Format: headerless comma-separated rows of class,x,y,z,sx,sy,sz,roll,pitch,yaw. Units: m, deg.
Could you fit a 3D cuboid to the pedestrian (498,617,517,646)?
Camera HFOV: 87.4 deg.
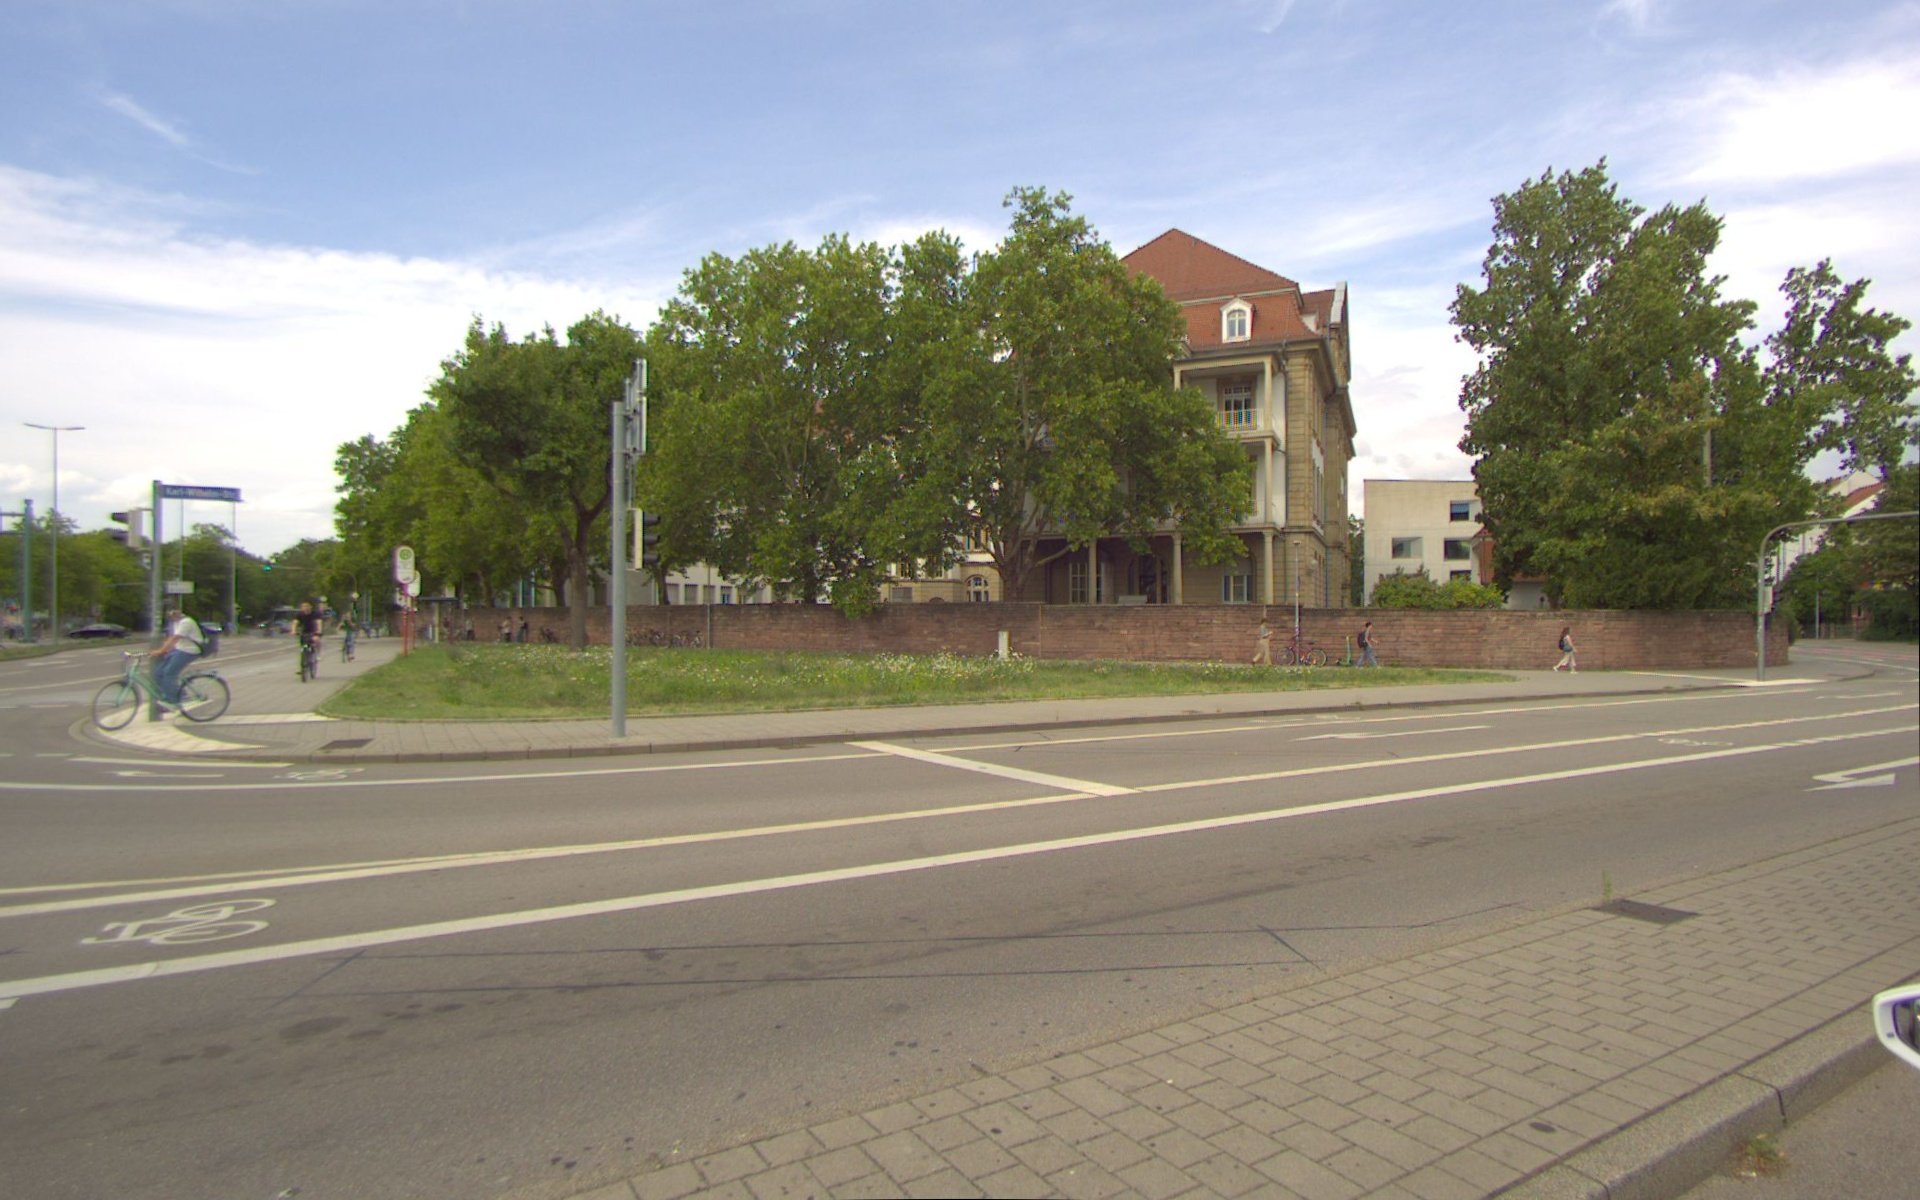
pedestrian,-26.449,1.840,58.730,0.655,1.643,0.751,-1,1,38

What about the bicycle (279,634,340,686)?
bicycle,-13.887,1.253,21.487,0.497,0.948,1.965,0,1,-14

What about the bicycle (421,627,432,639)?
bicycle,-41.697,2.606,78.530,0.429,0.899,1.558,-4,1,-39

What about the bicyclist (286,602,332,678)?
bicyclist,-13.873,0.841,21.431,0.570,1.576,0.795,0,1,-14

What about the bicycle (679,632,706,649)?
bicycle,-13.846,2.095,51.904,1.681,0.875,0.357,-1,-3,36

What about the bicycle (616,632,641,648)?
bicycle,-18.111,2.199,54.891,1.794,0.875,0.357,-1,-3,39

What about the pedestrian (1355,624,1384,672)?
pedestrian,14.628,1.701,35.916,0.766,1.677,0.577,-2,1,2

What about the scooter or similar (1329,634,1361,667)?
scooter or similar,14.351,1.874,37.431,0.513,1.154,1.509,-1,1,45

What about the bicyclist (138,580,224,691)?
bicyclist,-11.386,0.496,14.699,0.568,1.576,0.798,1,1,15

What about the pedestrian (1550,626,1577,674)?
pedestrian,21.833,1.799,36.332,0.618,1.677,0.531,-2,1,-5

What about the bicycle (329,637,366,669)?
bicycle,-20.901,1.809,34.301,0.497,0.948,1.965,0,1,-14

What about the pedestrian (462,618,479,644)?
pedestrian,-31.758,2.024,65.139,0.655,1.643,0.751,-1,1,38

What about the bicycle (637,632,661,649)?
bicycle,-16.664,2.168,53.793,1.783,0.875,0.357,-1,-4,42

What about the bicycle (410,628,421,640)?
bicycle,-44.055,2.756,81.236,0.429,0.899,1.558,-4,1,-39

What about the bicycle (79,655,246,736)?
bicycle,-11.449,1.341,14.511,0.496,0.948,1.972,1,1,15

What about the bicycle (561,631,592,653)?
bicycle,-22.115,2.412,57.906,2.067,1.204,0.755,-1,-3,40

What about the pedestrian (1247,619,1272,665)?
pedestrian,11.161,1.565,37.431,0.766,1.677,0.577,-1,1,7

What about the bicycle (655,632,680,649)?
bicycle,-15.296,2.134,52.541,1.864,0.875,0.357,-2,-4,43

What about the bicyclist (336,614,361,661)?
bicyclist,-20.921,1.276,34.388,0.486,1.576,0.795,0,1,-14

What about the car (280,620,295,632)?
car,-91.133,3.508,136.088,1.683,1.500,4.375,-2,0,-34

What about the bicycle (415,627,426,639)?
bicycle,-42.873,2.634,79.784,0.429,0.899,1.558,-4,1,-39

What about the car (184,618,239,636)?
car,-69.711,2.516,93.597,4.046,1.509,1.791,1,-1,9

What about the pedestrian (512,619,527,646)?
pedestrian,-27.388,2.036,62.437,0.743,1.643,0.566,-1,1,40

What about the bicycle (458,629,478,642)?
bicycle,-33.879,2.449,69.149,1.554,0.899,0.658,-2,1,42

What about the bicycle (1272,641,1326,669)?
bicycle,12.755,2.072,37.845,1.888,1.018,0.779,-2,1,17

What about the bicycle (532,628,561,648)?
bicycle,-24.898,2.279,60.461,2.067,1.204,0.755,-1,-3,40
